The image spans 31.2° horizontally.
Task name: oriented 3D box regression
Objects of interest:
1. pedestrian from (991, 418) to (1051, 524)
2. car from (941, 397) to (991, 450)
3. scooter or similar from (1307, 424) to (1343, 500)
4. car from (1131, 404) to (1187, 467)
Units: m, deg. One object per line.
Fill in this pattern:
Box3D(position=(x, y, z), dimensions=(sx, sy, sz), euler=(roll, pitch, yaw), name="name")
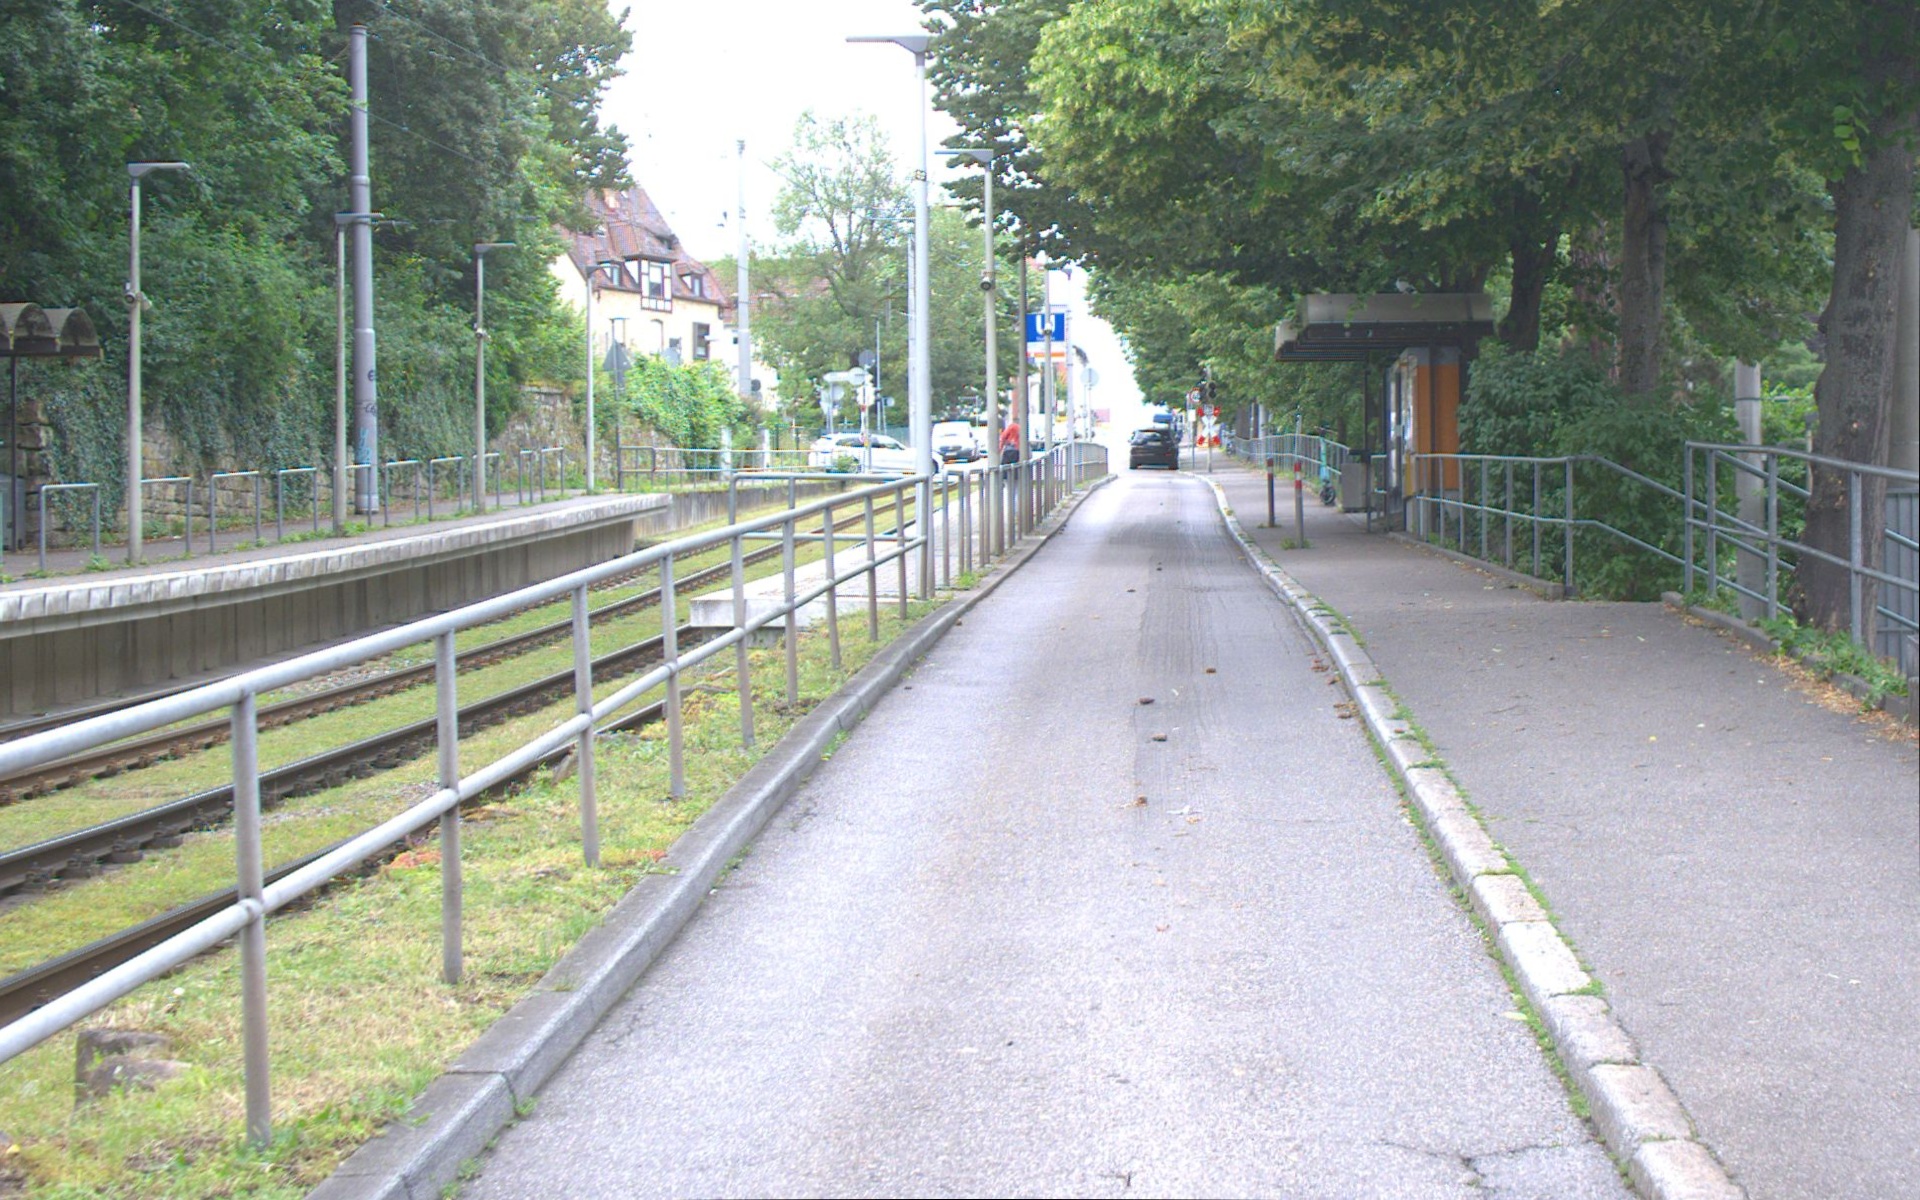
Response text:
Box3D(position=(0.846, -1.792, 47.674), dimensions=(0.742, 1.404, 0.747), euler=(3, 4, 3), name="pedestrian")
Box3D(position=(0.282, -8.042, 156.722), dimensions=(1.994, 2.138, 4.000), euler=(3, 1, 3), name="car")
Box3D(position=(5.721, -2.161, 53.920), dimensions=(0.342, 1.153, 1.147), euler=(3, 1, -3), name="scooter or similar")
Box3D(position=(7.546, -6.236, 130.462), dimensions=(1.994, 2.138, 4.000), euler=(3, 1, 3), name="car")
